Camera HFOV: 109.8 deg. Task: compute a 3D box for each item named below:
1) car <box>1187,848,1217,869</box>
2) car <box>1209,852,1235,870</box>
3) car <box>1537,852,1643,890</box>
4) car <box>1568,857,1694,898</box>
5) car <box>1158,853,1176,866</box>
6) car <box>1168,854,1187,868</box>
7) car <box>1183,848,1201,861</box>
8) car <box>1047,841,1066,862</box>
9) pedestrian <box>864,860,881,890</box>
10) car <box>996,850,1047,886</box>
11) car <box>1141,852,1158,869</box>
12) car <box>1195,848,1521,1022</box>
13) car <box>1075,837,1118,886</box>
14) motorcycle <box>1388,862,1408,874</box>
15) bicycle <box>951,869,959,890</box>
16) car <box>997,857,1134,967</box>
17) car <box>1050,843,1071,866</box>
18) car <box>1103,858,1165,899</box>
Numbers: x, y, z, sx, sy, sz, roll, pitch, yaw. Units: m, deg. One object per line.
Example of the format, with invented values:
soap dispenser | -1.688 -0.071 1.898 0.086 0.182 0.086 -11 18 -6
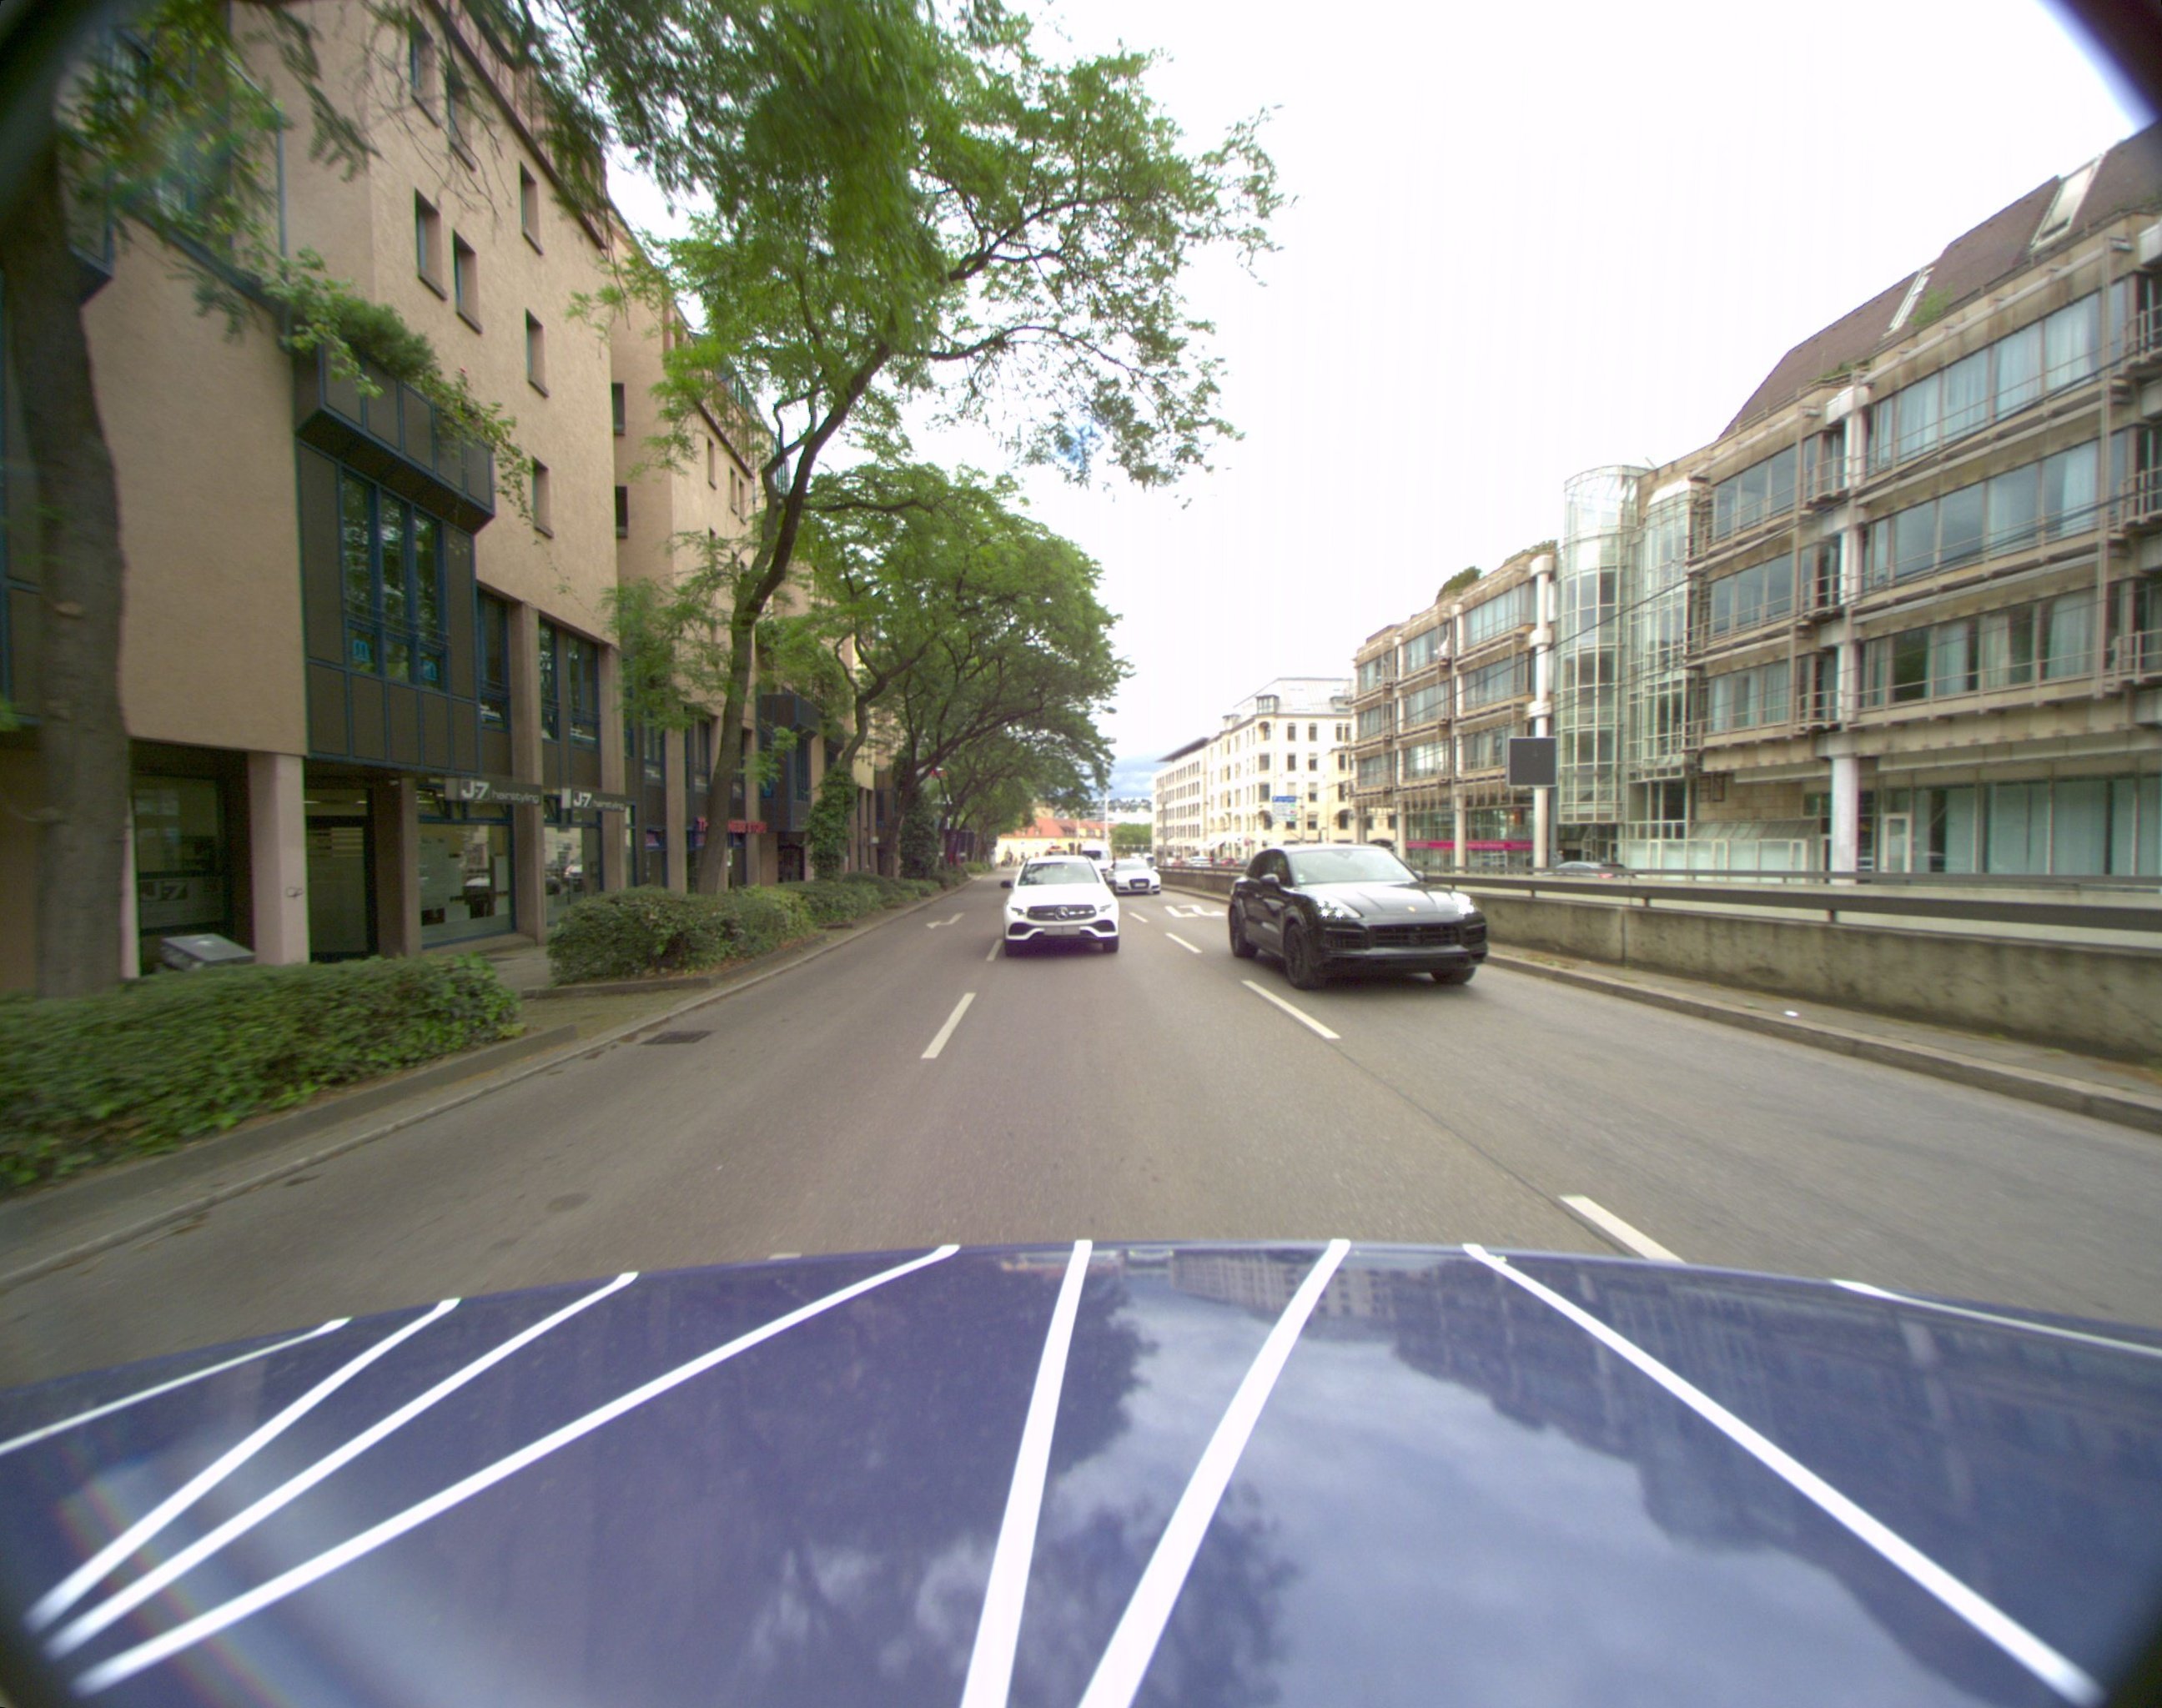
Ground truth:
car | 11.774 0.450 74.344 1.839 1.831 4.603 -5 1 -4
car | 16.720 0.835 90.159 1.999 1.903 4.376 -2 1 -4
car | 21.374 0.684 32.098 1.668 1.492 4.042 -1 0 -2
car | 21.547 0.873 30.014 1.668 1.492 4.412 -1 0 -2
car | 13.982 0.858 123.364 1.999 2.002 4.788 -2 0 -4
car | 14.561 1.091 114.780 1.999 2.002 4.788 -2 0 -4
car | 17.911 0.051 122.639 1.999 2.002 3.999 0 0 -4
car | -3.399 -0.314 104.525 2.504 2.793 5.726 -2 0 -3
pedestrian | -12.034 1.229 43.910 0.711 1.701 0.688 -1 0 2
car | -3.778 0.837 49.294 2.502 2.144 5.729 -2 0 3
car | 12.782 1.127 142.327 2.371 3.042 5.467 -2 0 -4
car | 3.162 0.803 10.184 2.089 1.665 5.350 -1 0 -4
car | 1.018 0.441 45.886 2.294 2.723 4.754 -2 0 3
motorcycle | 28.390 1.250 68.089 0.645 1.069 1.670 -2 0 -24
bicycle | -7.614 1.545 45.794 0.363 1.194 1.568 -1 0 -12
car | -0.367 0.890 13.657 2.060 1.599 3.925 -2 0 -4
car | -2.631 0.068 96.913 2.504 2.793 5.726 -2 0 -3
car | 2.144 0.951 31.735 1.950 1.521 3.998 -2 0 -5
